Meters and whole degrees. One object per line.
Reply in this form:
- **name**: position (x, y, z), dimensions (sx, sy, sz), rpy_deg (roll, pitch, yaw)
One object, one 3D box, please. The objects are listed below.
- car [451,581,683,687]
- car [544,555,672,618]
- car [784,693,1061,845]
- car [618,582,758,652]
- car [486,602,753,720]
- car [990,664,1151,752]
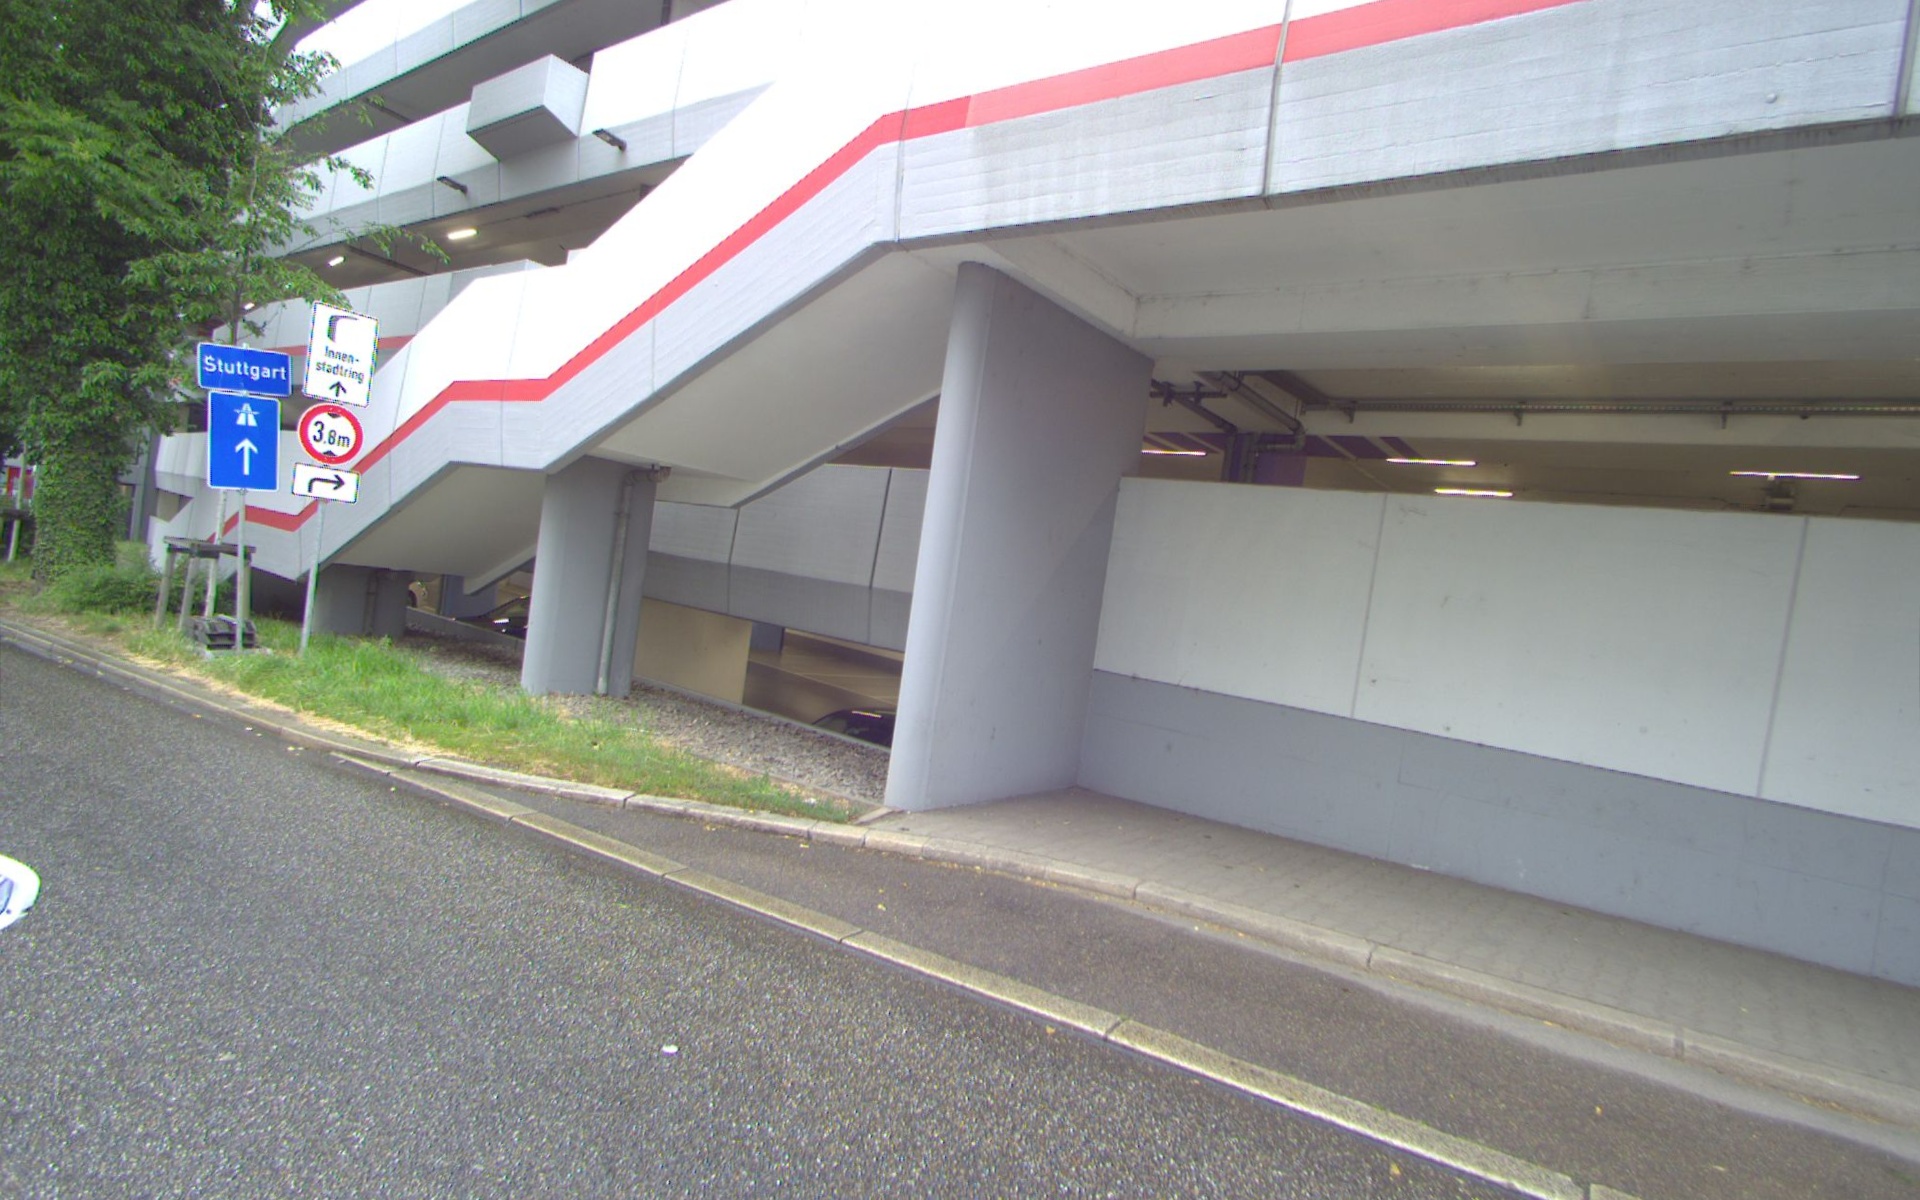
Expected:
- **car**: position (-7.630, 0.720, 19.805), dimensions (1.782, 1.559, 3.734), rpy_deg (11, 2, 37)
- **car**: position (-12.988, -0.472, 37.240), dimensions (1.792, 1.804, 3.979), rpy_deg (7, 0, 44)
- **car**: position (-0.419, 2.353, 14.747), dimensions (1.810, 1.559, 3.931), rpy_deg (11, 2, 37)
- **car**: position (-8.911, 0.580, 33.189), dimensions (1.792, 1.804, 3.979), rpy_deg (7, 0, 44)
- **car**: position (-5.825, 1.127, 17.623), dimensions (1.810, 1.643, 3.988), rpy_deg (7, -1, 36)
- **car**: position (2.698, 2.545, 23.804), dimensions (1.810, 1.559, 3.988), rpy_deg (11, 2, 37)
